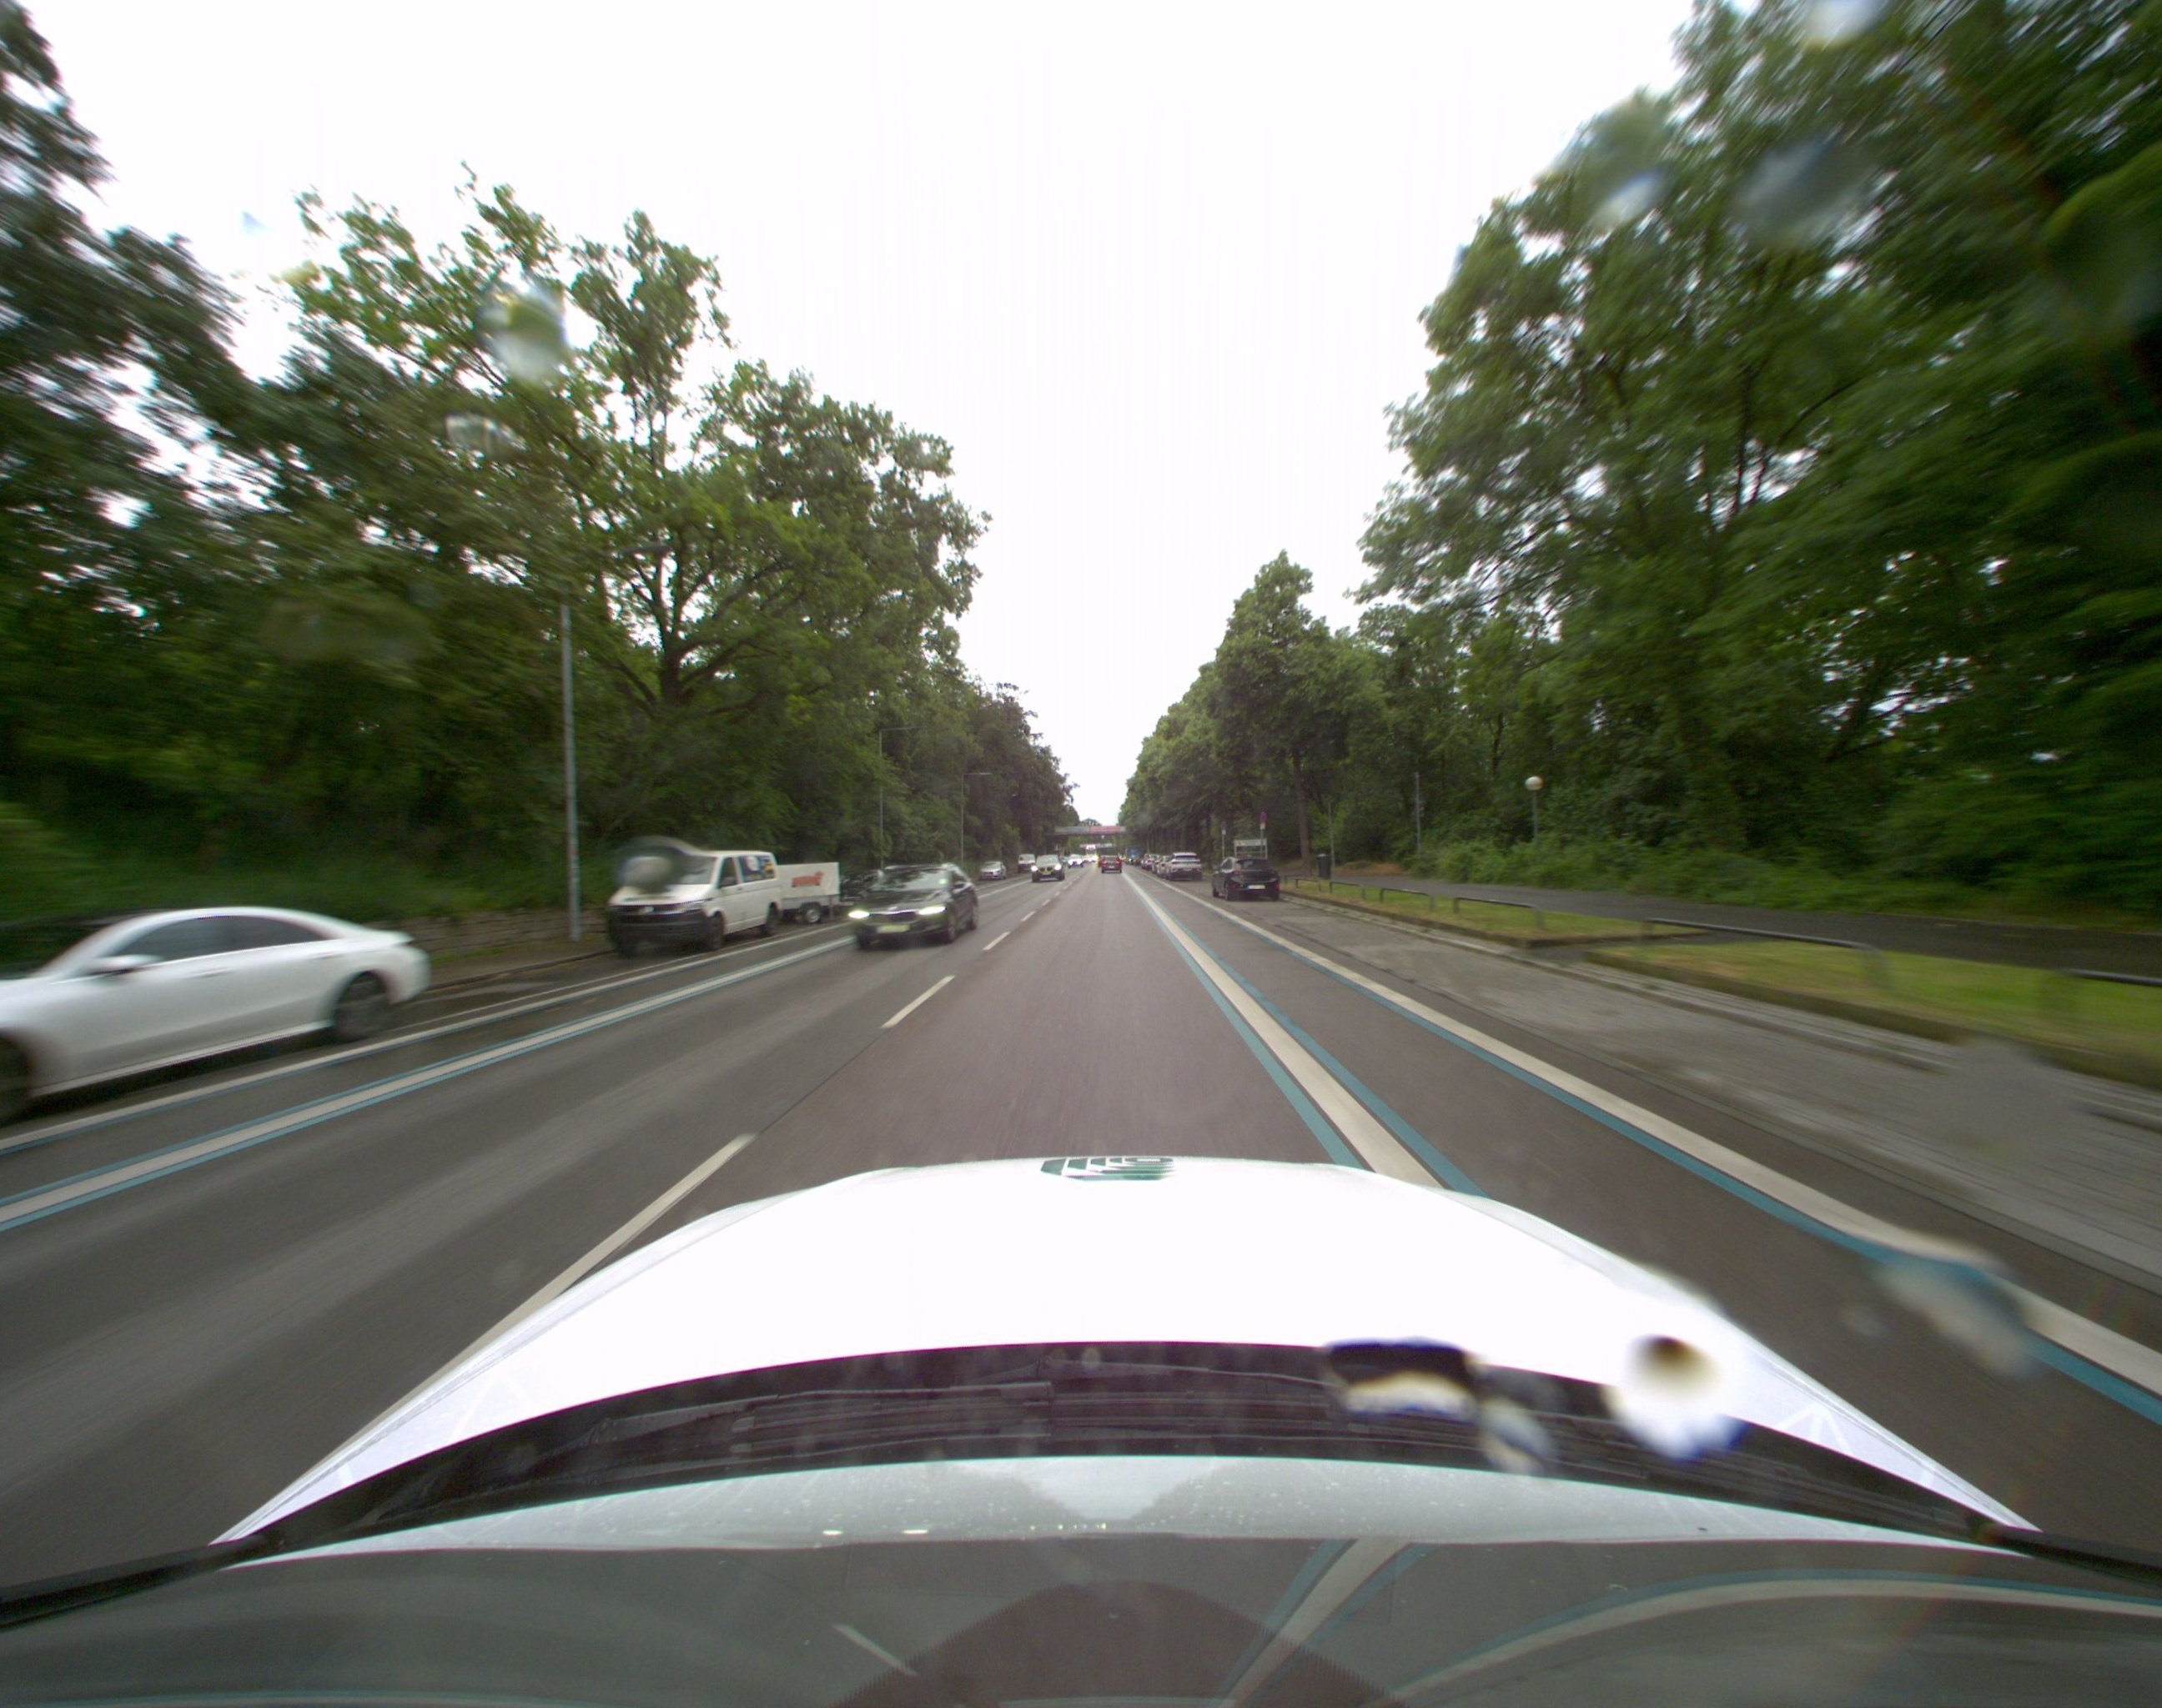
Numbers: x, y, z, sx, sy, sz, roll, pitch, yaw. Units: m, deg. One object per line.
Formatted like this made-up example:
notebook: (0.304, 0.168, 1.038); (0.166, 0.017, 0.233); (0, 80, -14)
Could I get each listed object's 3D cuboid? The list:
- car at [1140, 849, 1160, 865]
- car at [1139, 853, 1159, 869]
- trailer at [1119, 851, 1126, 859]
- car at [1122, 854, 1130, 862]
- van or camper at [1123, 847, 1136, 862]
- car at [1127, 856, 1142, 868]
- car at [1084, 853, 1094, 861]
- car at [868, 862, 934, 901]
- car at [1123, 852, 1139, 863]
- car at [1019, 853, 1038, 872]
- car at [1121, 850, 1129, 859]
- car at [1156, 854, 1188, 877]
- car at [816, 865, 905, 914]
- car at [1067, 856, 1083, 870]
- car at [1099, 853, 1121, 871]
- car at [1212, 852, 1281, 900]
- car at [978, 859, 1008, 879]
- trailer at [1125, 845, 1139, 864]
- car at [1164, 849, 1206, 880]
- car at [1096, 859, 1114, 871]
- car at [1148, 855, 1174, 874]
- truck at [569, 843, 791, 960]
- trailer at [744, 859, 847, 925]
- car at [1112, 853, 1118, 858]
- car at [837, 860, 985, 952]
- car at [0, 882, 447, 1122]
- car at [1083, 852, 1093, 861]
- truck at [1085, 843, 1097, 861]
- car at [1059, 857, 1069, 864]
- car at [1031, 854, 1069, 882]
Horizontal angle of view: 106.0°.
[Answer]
car: (7.047, 0.283, 83.667); (1.747, 1.597, 4.741); (-1, 0, 1)
car: (6.448, 0.631, 77.650); (1.691, 1.513, 4.471); (0, 0, 2)
trailer: (11.896, 0.222, 235.684); (1.876, 2.166, 3.810); (-2, 0, 2)
car: (9.570, 0.811, 174.002); (1.749, 1.590, 4.500); (0, 0, 2)
van or camper: (9.073, 0.166, 152.808); (2.035, 2.729, 6.901); (0, 0, 1)
car: (7.033, 1.002, 107.111); (1.819, 1.503, 4.572); (-1, 0, 1)
car: (1.621, 0.623, 163.663); (1.954, 1.617, 4.467); (-2, 0, 1)
car: (-7.454, 1.099, 34.089); (1.748, 1.435, 4.356); (-2, 0, 0)
car: (7.122, 0.488, 116.023); (1.894, 1.547, 4.753); (0, 0, -1)
car: (-5.600, 0.884, 87.174); (1.969, 2.005, 5.013); (-1, 0, -3)
car: (10.361, 0.137, 192.336); (1.919, 2.022, 4.665); (0, 0, 2)
car: (5.960, 0.711, 53.844); (1.692, 1.453, 3.946); (0, 0, 0)
car: (-7.297, 1.122, 27.375); (1.816, 1.398, 4.443); (-1, 0, -1)
car: (-0.737, 1.178, 105.093); (1.947, 1.639, 4.446); (-2, 0, 1)
car: (2.503, 0.658, 70.103); (1.811, 1.508, 4.142); (-1, 0, 3)
car: (5.554, 0.686, 27.691); (1.688, 1.476, 4.001); (-1, 0, 3)
car: (-6.674, 1.151, 62.240); (1.683, 1.405, 4.030); (-1, 0, 2)
trailer: (7.628, 0.086, 121.828); (1.945, 2.758, 4.008); (-1, 0, 1)
car: (6.000, 0.583, 47.627); (1.986, 1.662, 4.565); (-2, 0, 2)
car: (2.937, 1.336, 101.239); (2.133, 1.492, 4.497); (0, 0, 0)
car: (6.299, 0.777, 64.278); (1.692, 1.453, 4.097); (0, 0, 0)
truck: (-8.025, 0.839, 17.017); (2.087, 2.013, 5.157); (-1, 0, -1)
trailer: (-7.819, 1.017, 22.381); (1.334, 1.657, 2.280); (-2, 0, 39)
car: (10.444, 0.378, 253.077); (1.724, 1.583, 4.038); (-2, 0, 2)
car: (-3.152, 0.898, 16.084); (1.758, 1.457, 4.498); (-3, 0, 2)
car: (-8.081, 1.082, 6.733); (1.800, 1.498, 4.755); (-2, -1, 2)
car: (1.271, 0.403, 149.138); (1.770, 1.466, 4.063); (-4, 0, 0)
truck: (2.562, -0.465, 202.439); (2.511, 4.046, 4.913); (-4, 0, -2)
car: (-3.322, 1.285, 163.422); (1.950, 1.463, 4.754); (-1, 0, -1)
car: (-1.938, 0.873, 51.801); (2.030, 1.649, 4.479); (-2, 0, 2)
